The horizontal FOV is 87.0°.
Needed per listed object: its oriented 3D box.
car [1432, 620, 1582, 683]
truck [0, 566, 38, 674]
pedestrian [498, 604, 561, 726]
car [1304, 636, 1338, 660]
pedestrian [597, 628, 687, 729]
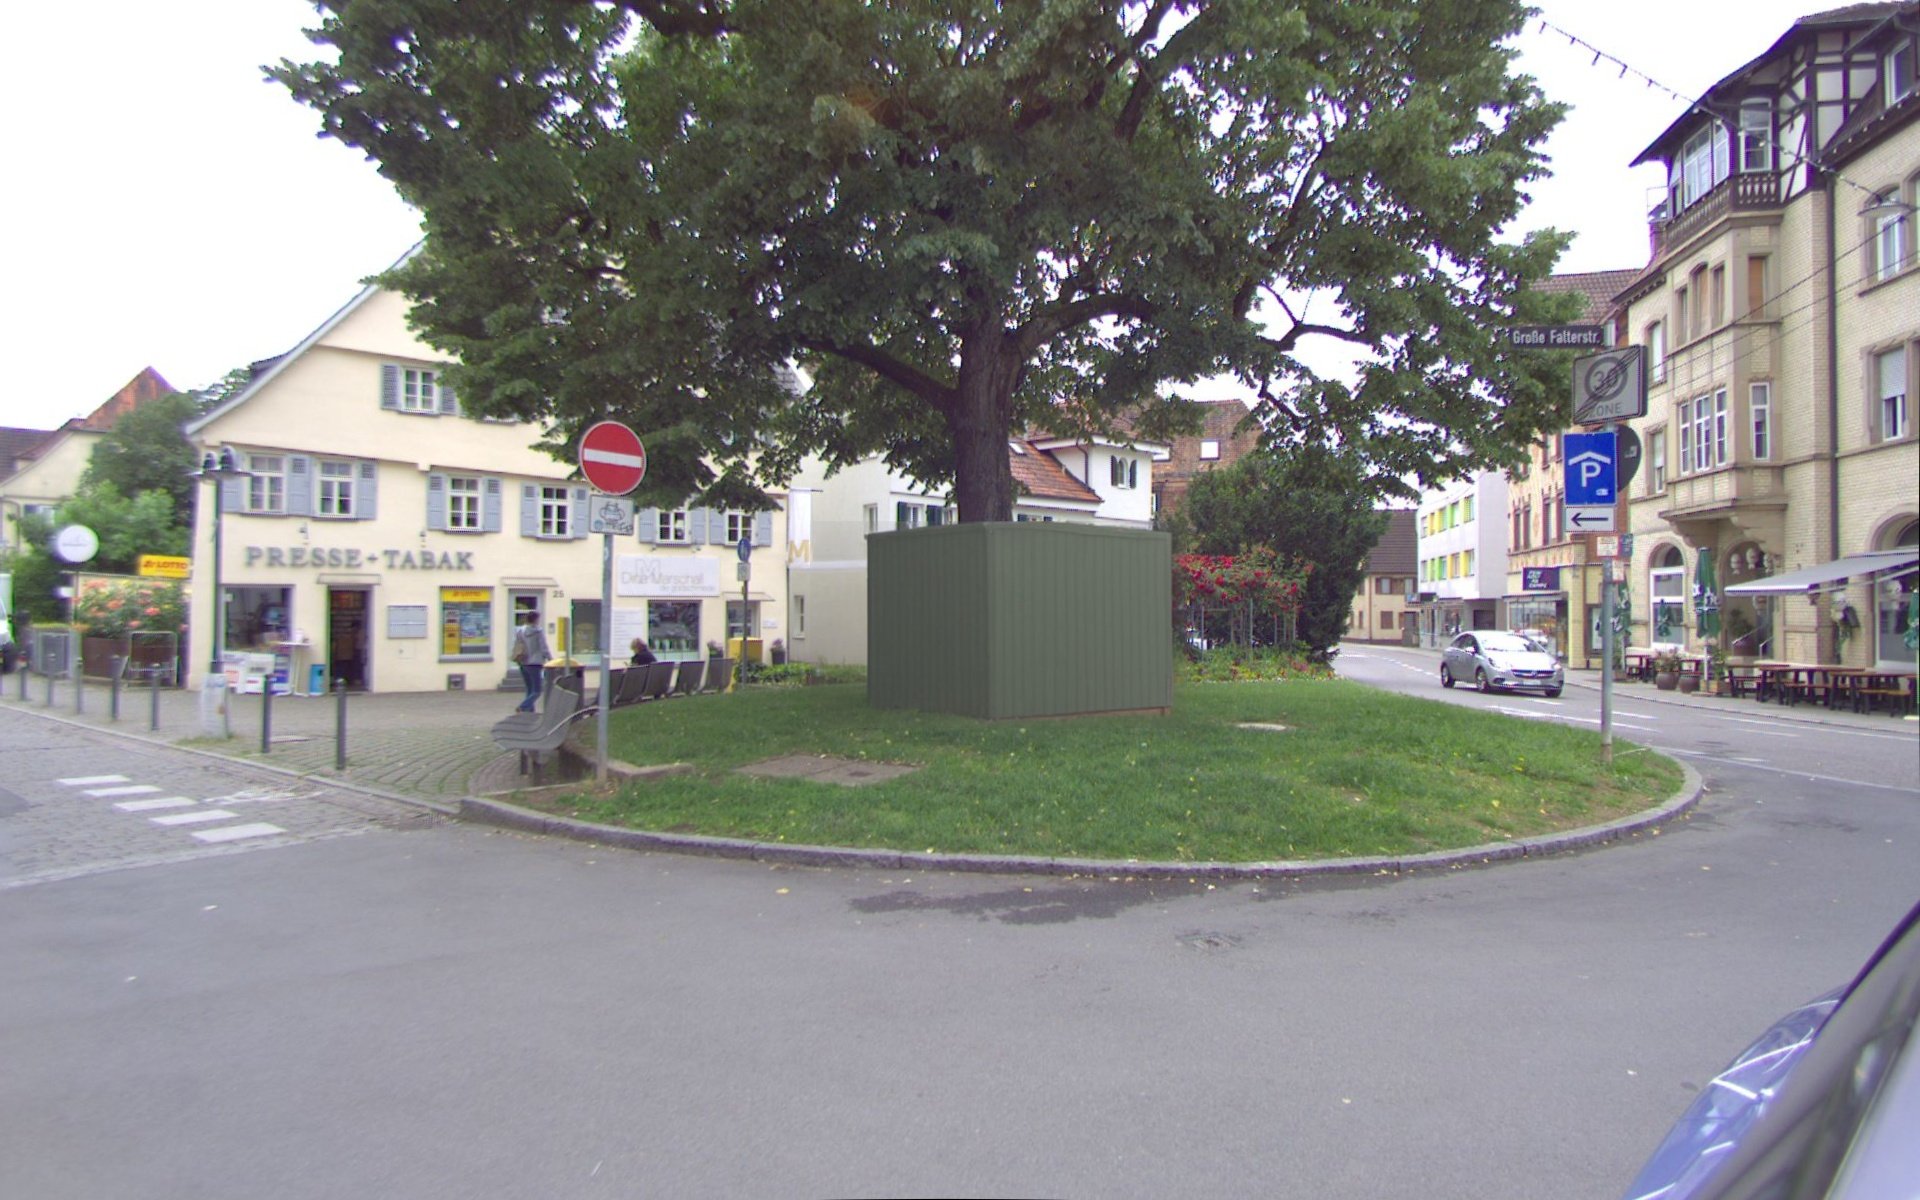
[{"bbox_3d":[12.950,1.172,24.246,1.726,1.372,3.992,-1,-1,6],"label":"car"},{"bbox_3d":[-26.597,0.542,26.371,5.261,2.725,2.805,-1,-1,36],"label":"truck"},{"bbox_3d":[-6.449,0.946,15.162,0.780,1.767,0.712,0,-2,-31],"label":"pedestrian"},{"bbox_3d":[27.390,3.625,76.838,1.972,1.648,3.983,-1,0,14],"label":"car"},{"bbox_3d":[-4.645,1.120,14.822,0.848,1.398,0.967,-1,-2,24],"label":"pedestrian"}]
